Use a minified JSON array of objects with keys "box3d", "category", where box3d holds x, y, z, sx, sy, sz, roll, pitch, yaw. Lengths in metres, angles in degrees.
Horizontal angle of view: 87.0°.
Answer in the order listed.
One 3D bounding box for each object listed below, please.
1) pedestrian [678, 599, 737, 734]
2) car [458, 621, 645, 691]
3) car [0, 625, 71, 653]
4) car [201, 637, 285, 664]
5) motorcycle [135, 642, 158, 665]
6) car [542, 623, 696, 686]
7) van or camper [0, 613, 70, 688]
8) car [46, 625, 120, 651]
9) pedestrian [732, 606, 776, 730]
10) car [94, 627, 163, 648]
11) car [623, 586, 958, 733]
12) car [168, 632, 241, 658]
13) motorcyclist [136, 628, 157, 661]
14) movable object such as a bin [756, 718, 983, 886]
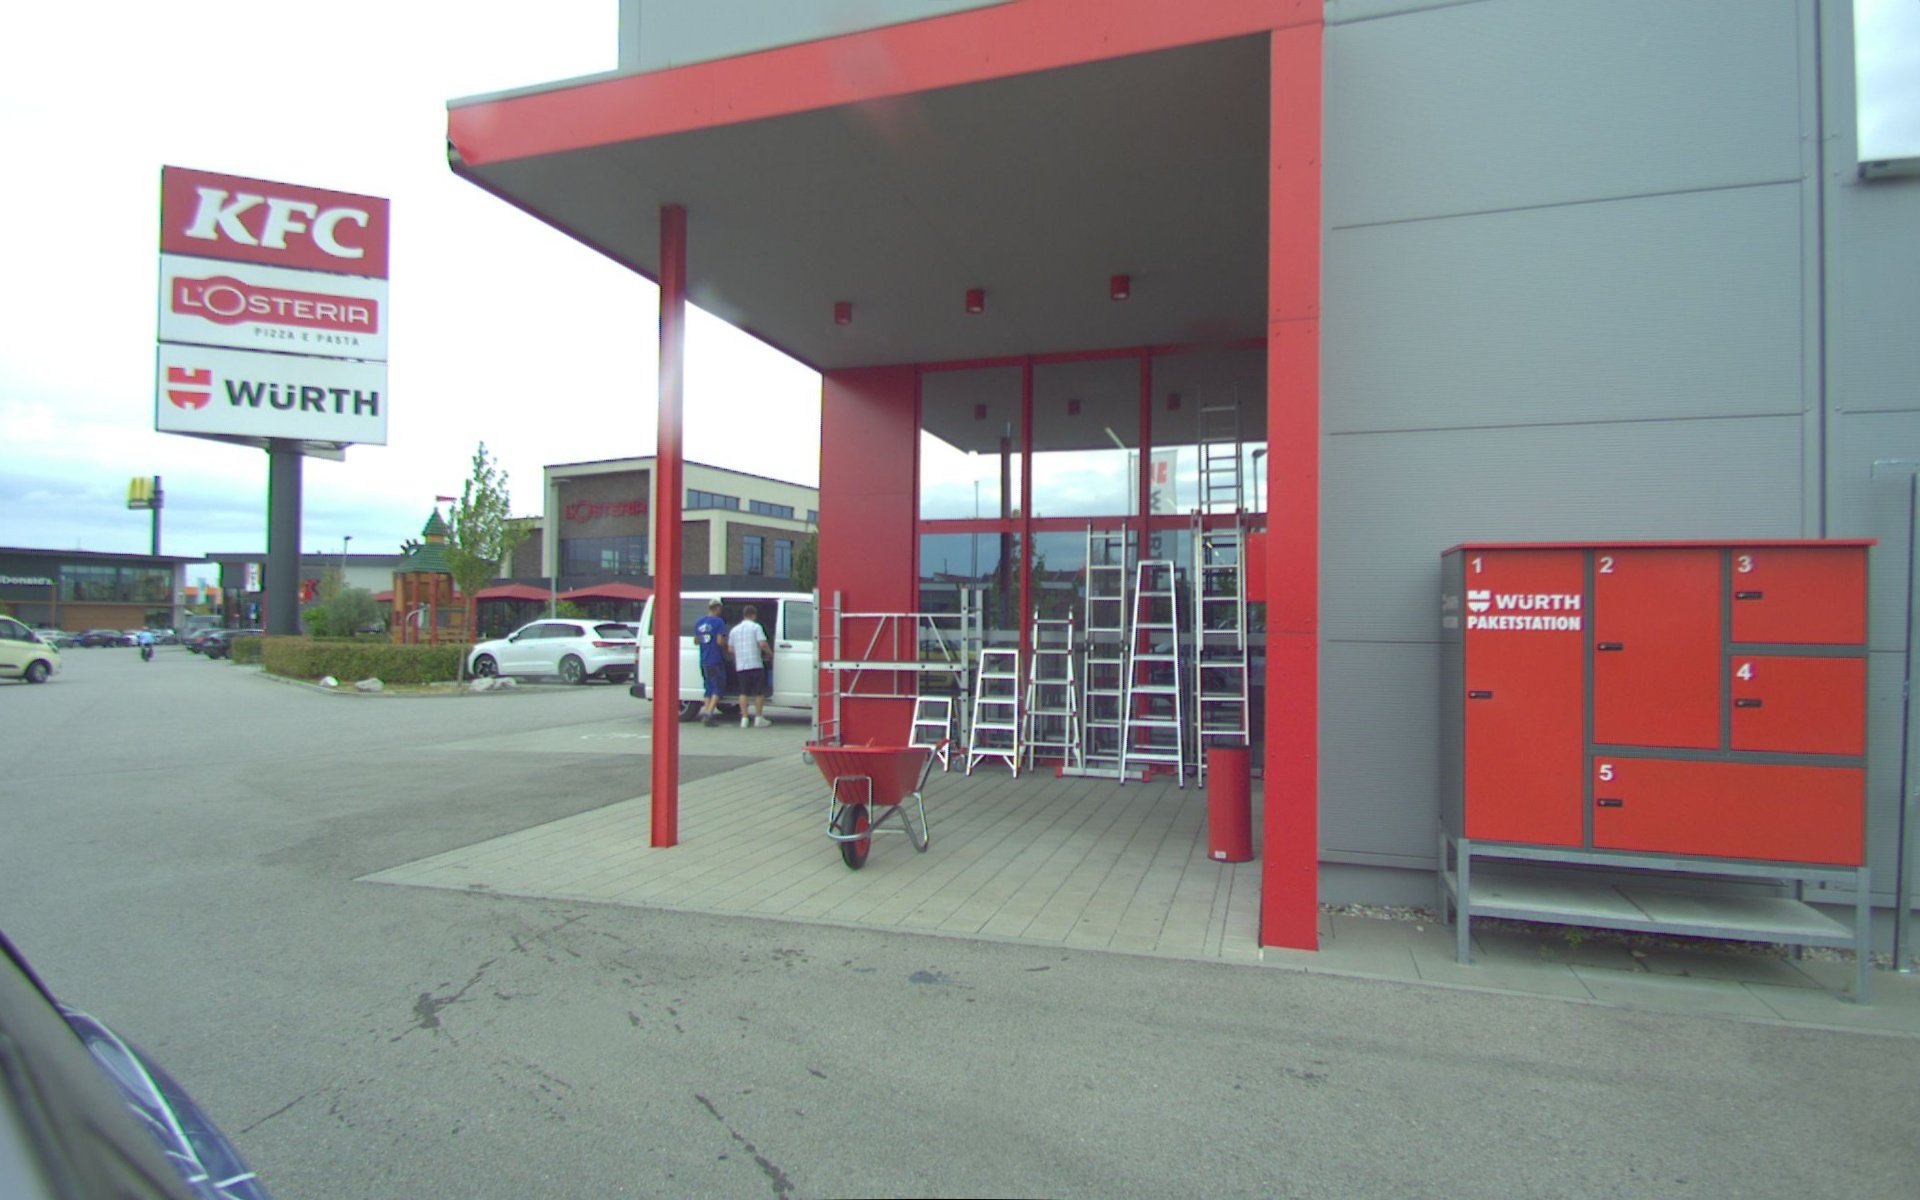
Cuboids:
[{"box3d":[-3.586,0.927,14.390,0.619,1.870,0.586,-1,-1,12],"category":"pedestrian"},{"box3d":[-10.858,1.453,26.888,4.708,1.762,1.746,-1,-2,21],"category":"car"},{"box3d":[-69.637,2.897,75.893,3.934,2.029,2.005,0,-1,-12],"category":"car"},{"box3d":[-38.458,2.697,54.330,1.498,1.305,3.398,-1,-2,39],"category":"car"},{"box3d":[-40.863,2.681,50.813,0.804,1.083,2.152,2,-3,-41],"category":"motorcycle"},{"box3d":[-9.901,1.532,29.390,3.971,1.719,1.897,-1,-1,21],"category":"car"},{"box3d":[-27.404,1.373,27.219,1.839,2.077,5.218,-1,-2,9],"category":"van or camper"},{"box3d":[-68.779,2.965,79.437,3.934,2.029,2.005,0,-1,-12],"category":"car"},{"box3d":[-2.937,0.954,14.425,0.358,1.715,0.581,-1,-2,20],"category":"pedestrian"},{"box3d":[-68.732,3.057,83.737,3.934,1.674,2.005,0,-1,-12],"category":"car"},{"box3d":[-2.561,0.864,15.507,4.716,2.029,1.927,-1,-1,16],"category":"car"},{"box3d":[-56.704,3.317,76.025,1.995,1.852,3.953,-1,-2,34],"category":"car"},{"box3d":[-40.914,2.217,50.888,0.742,1.651,1.039,1,-2,-41],"category":"motorcyclist"},{"box3d":[-0.479,1.149,6.128,0.797,0.721,1.575,-1,-2,19],"category":"movable object such as a bin"}]
